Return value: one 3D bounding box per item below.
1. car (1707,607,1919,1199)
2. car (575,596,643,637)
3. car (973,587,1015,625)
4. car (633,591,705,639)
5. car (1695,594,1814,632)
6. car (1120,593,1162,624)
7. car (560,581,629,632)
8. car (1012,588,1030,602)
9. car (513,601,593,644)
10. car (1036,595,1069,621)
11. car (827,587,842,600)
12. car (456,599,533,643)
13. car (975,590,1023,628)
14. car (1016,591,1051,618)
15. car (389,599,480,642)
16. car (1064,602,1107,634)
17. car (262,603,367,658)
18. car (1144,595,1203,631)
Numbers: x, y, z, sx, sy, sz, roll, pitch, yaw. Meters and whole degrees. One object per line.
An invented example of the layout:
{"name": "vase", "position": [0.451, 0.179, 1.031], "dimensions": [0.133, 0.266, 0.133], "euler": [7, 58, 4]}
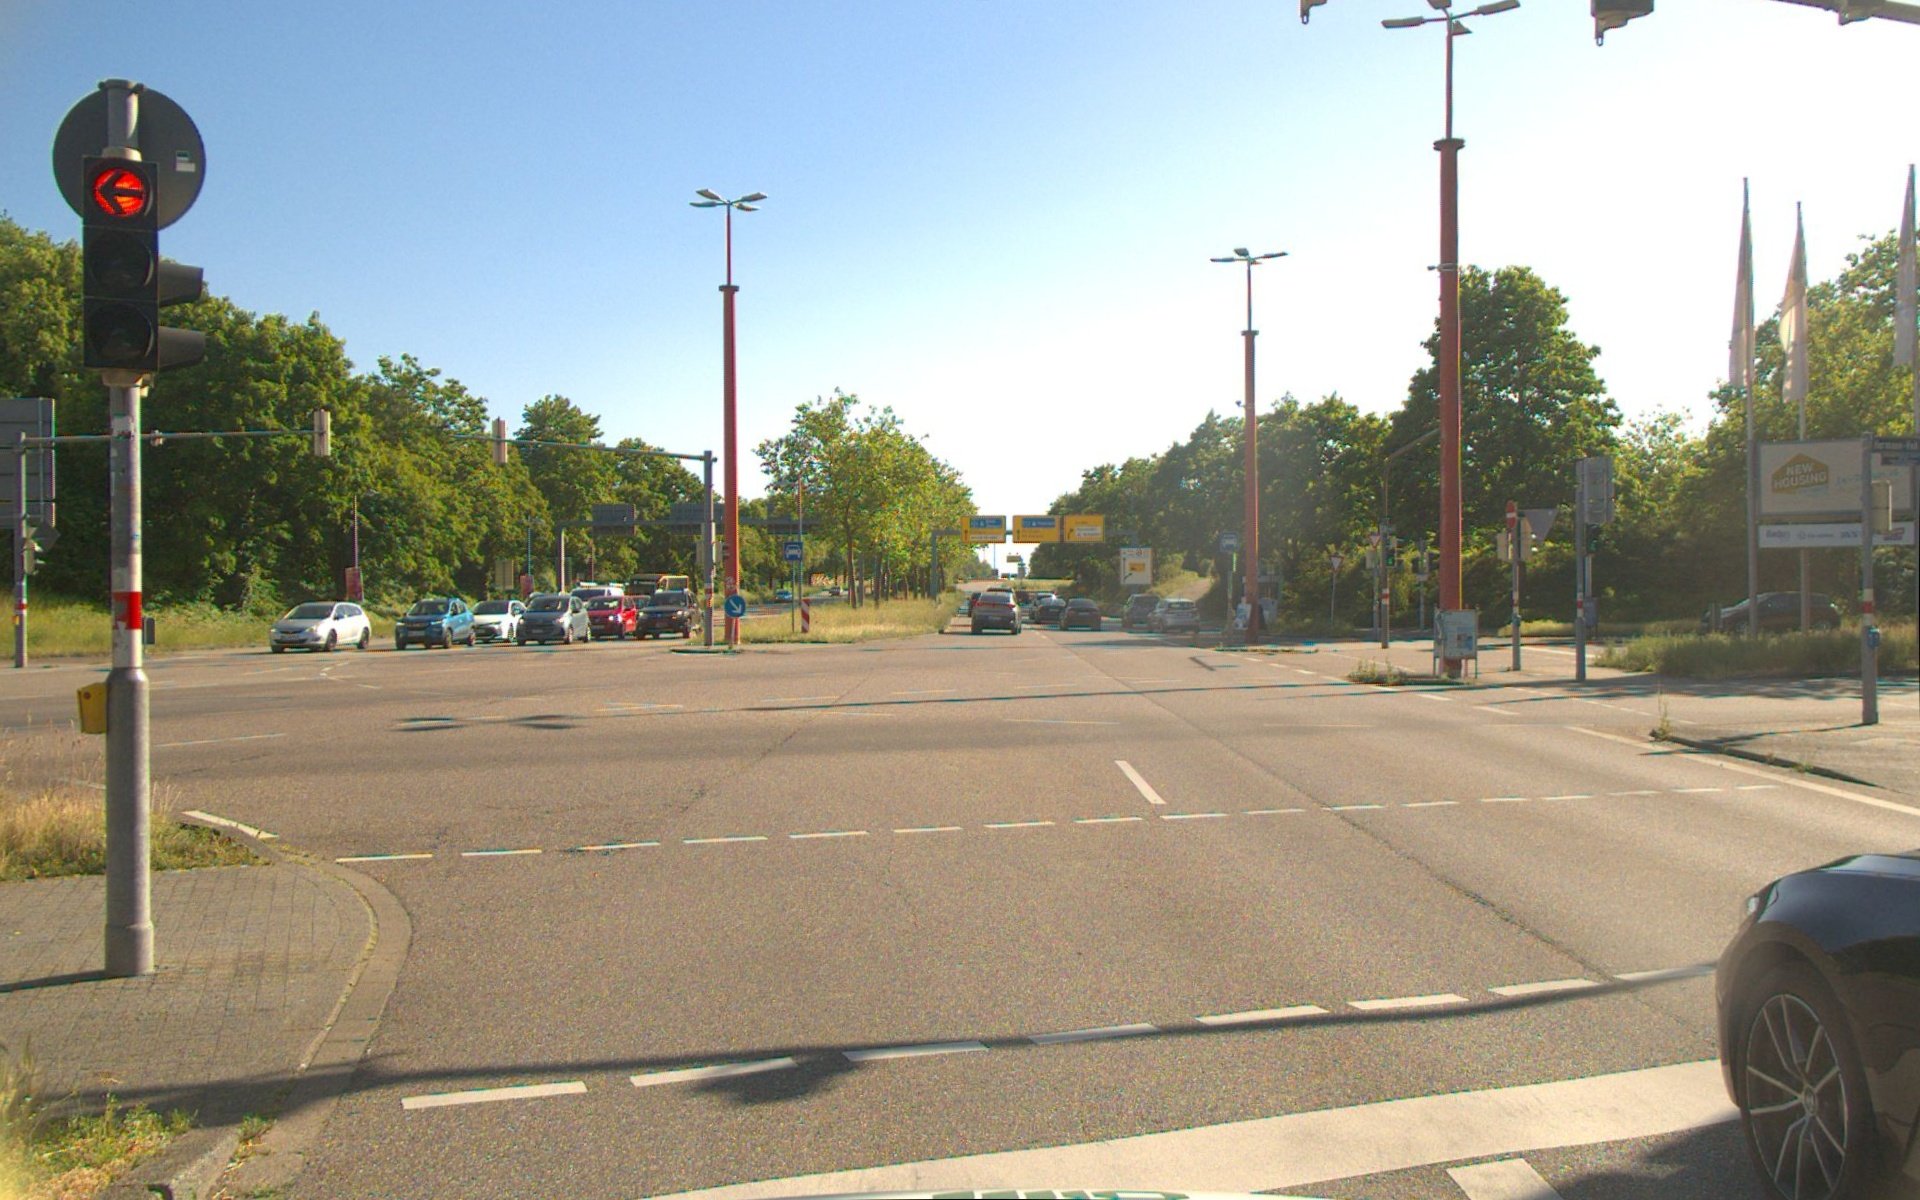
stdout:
{"name": "car", "position": [2.945, 0.734, 2.364], "dimensions": [1.831, 1.422, 4.444], "euler": [0, 0, 1]}
{"name": "car", "position": [-12.277, 0.551, 58.076], "dimensions": [1.704, 1.386, 3.611], "euler": [0, 0, -2]}
{"name": "car", "position": [1.591, 0.258, 78.796], "dimensions": [1.808, 1.738, 4.306], "euler": [0, 0, -1]}
{"name": "car", "position": [-9.781, 0.475, 55.886], "dimensions": [1.782, 1.534, 3.999], "euler": [0, 0, -1]}
{"name": "car", "position": [26.547, 0.431, 55.262], "dimensions": [3.383, 1.228, 1.614], "euler": [0, 0, -16]}
{"name": "car", "position": [9.049, 0.390, 83.031], "dimensions": [1.742, 1.511, 4.330], "euler": [0, 0, 2]}
{"name": "car", "position": [-15.562, 0.298, 70.674], "dimensions": [1.855, 2.061, 5.221], "euler": [1, -1, -2]}
{"name": "car", "position": [6.601, -0.518, 179.473], "dimensions": [1.646, 1.460, 4.064], "euler": [0, 0, -2]}
{"name": "car", "position": [-12.670, 0.668, 51.699], "dimensions": [1.704, 1.265, 3.611], "euler": [0, 0, -2]}
{"name": "car", "position": [5.040, 0.430, 90.597], "dimensions": [1.723, 1.373, 4.364], "euler": [-1, 0, 2]}
{"name": "car", "position": [-17.233, -0.860, 227.552], "dimensions": [1.804, 1.696, 3.999], "euler": [1, 0, -1]}
{"name": "car", "position": [-15.928, 0.699, 56.794], "dimensions": [1.704, 1.436, 3.611], "euler": [0, 0, -2]}
{"name": "car", "position": [1.515, 0.334, 64.649], "dimensions": [1.792, 1.447, 4.437], "euler": [0, 0, 1]}
{"name": "car", "position": [4.636, 0.291, 105.229], "dimensions": [1.786, 1.665, 4.250], "euler": [0, 0, -3]}
{"name": "car", "position": [-16.051, 0.610, 50.677], "dimensions": [1.704, 1.265, 3.611], "euler": [0, 0, -2]}
{"name": "car", "position": [5.706, 0.792, 74.984], "dimensions": [1.722, 1.373, 4.366], "euler": [0, 0, 7]}
{"name": "car", "position": [-19.513, 0.896, 50.168], "dimensions": [1.725, 1.559, 3.934], "euler": [0, 0, -2]}
{"name": "car", "position": [9.236, 0.551, 71.827], "dimensions": [1.646, 1.493, 3.989], "euler": [0, 0, -6]}
